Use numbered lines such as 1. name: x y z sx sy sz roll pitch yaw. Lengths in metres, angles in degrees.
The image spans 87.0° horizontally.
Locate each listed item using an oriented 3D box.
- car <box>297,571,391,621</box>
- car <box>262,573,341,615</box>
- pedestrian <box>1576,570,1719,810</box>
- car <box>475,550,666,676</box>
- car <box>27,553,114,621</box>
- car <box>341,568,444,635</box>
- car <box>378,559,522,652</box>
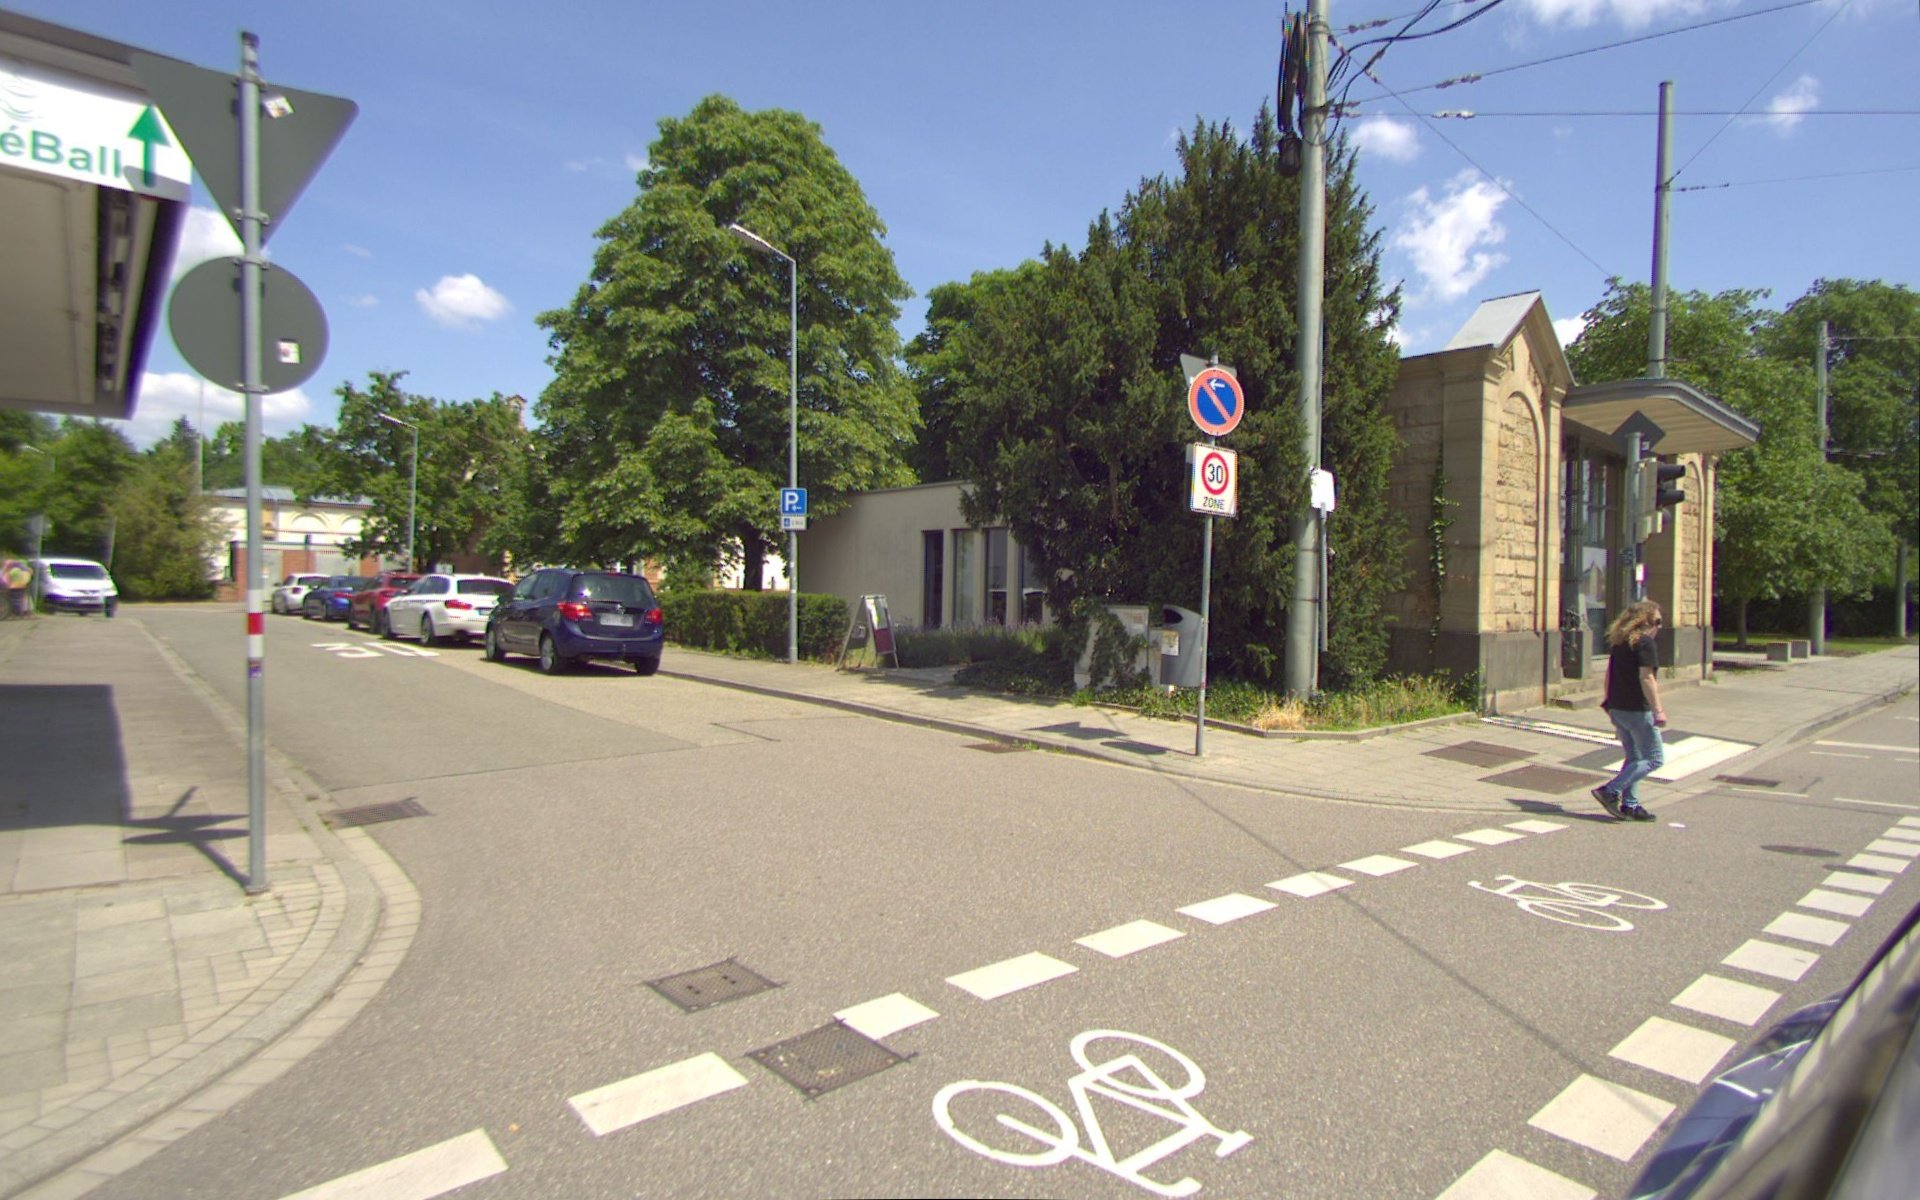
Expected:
1. car: -18.636 -0.140 30.536 1.789 1.398 3.994 0 1 -41
2. car: -22.754 -0.233 34.910 1.620 1.335 3.992 0 1 -43
3. pedestrian: 4.858 0.584 7.152 0.771 1.575 0.578 -1 3 -38
4. car: -6.355 0.100 16.287 1.646 1.722 3.800 -1 4 -42
5. car: -28.371 -0.433 32.239 1.966 2.039 3.992 0 1 -43
6. car: -14.223 -0.026 25.288 1.593 1.425 3.807 -1 4 -40
7. car: -10.676 0.025 21.030 1.786 1.653 4.213 -1 4 -40
